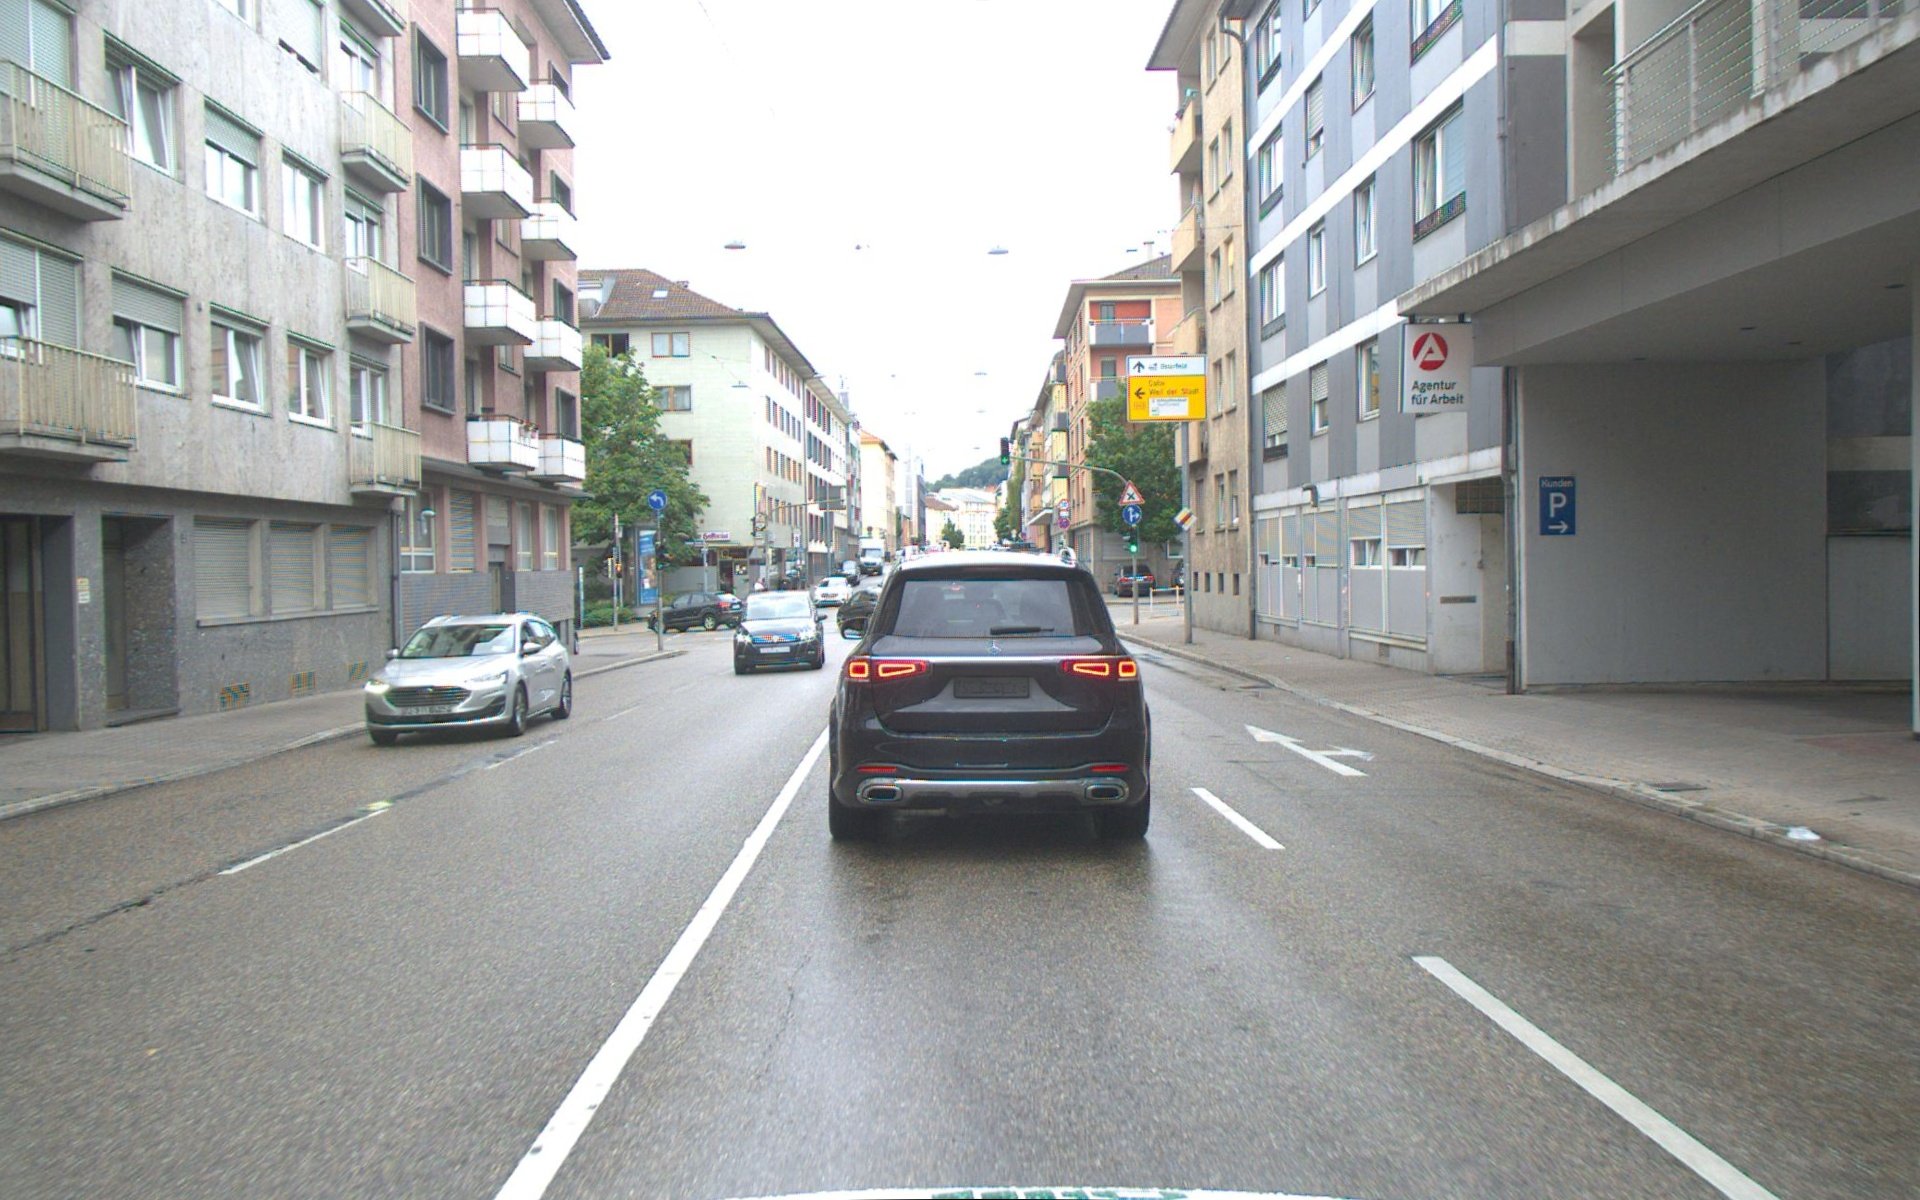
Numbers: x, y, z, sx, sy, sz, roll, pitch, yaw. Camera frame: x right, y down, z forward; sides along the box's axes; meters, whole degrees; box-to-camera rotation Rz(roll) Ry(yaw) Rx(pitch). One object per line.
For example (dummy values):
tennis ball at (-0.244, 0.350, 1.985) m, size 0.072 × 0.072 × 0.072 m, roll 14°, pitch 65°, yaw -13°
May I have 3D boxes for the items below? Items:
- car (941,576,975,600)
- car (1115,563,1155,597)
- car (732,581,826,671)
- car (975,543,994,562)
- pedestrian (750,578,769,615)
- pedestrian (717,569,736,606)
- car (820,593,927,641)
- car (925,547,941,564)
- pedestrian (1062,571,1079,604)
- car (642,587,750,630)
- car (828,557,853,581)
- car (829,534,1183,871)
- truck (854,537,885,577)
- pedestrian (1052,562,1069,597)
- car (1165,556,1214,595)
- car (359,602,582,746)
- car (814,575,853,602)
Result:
car at (-0.155, -0.745, 103.000) m, size 1.953 × 1.375 × 3.999 m, roll -2°, pitch 0°, yaw -1°
car at (8.618, -0.990, 81.625) m, size 1.636 × 1.616 × 3.331 m, roll -1°, pitch 0°, yaw 2°
car at (-3.766, 0.493, 34.937) m, size 1.737 × 1.674 × 4.408 m, roll -3°, pitch 1°, yaw -4°
car at (2.560, -4.925, 172.499) m, size 1.689 × 1.790 × 4.216 m, roll -3°, pitch 1°, yaw -3°
pedestrian at (-9.831, -0.172, 81.200) m, size 0.622 × 1.795 × 0.774 m, roll -1°, pitch 0°, yaw 16°
pedestrian at (-12.520, -0.676, 88.626) m, size 0.904 × 1.935 × 0.706 m, roll -1°, pitch 0°, yaw -2°
car at (-3.229, 0.641, 60.821) m, size 1.760 × 1.566 × 4.299 m, roll -2°, pitch -1°, yaw -38°
car at (-2.964, -4.883, 181.576) m, size 1.586 × 1.566 × 4.215 m, roll -3°, pitch 0°, yaw -3°
pedestrian at (6.262, -0.709, 93.765) m, size 0.904 × 1.836 × 0.706 m, roll -1°, pitch 0°, yaw -2°
car at (-10.911, 0.348, 68.268) m, size 4.265 × 1.566 × 1.774 m, roll -3°, pitch -1°, yaw 31°
car at (-8.541, -2.200, 118.430) m, size 1.586 × 1.566 × 4.215 m, roll -3°, pitch 0°, yaw -3°
car at (0.237, 0.591, 11.469) m, size 1.944 × 1.836 × 4.389 m, roll 2°, pitch 0°, yaw -1°
truck at (-7.824, -3.695, 143.884) m, size 2.430 × 3.099 × 9.914 m, roll -3°, pitch 0°, yaw -3°
pedestrian at (5.979, -1.223, 98.207) m, size 0.904 × 2.049 × 0.706 m, roll -1°, pitch 0°, yaw -2°
car at (11.287, -1.213, 81.632) m, size 1.786 × 1.826 × 3.831 m, roll -1°, pitch 0°, yaw -1°
car at (-6.107, 0.859, 21.152) m, size 1.737 × 1.566 × 4.355 m, roll -3°, pitch 0°, yaw -4°
car at (-6.670, -0.608, 87.425) m, size 1.847 × 1.286 × 4.215 m, roll -3°, pitch 0°, yaw -3°
